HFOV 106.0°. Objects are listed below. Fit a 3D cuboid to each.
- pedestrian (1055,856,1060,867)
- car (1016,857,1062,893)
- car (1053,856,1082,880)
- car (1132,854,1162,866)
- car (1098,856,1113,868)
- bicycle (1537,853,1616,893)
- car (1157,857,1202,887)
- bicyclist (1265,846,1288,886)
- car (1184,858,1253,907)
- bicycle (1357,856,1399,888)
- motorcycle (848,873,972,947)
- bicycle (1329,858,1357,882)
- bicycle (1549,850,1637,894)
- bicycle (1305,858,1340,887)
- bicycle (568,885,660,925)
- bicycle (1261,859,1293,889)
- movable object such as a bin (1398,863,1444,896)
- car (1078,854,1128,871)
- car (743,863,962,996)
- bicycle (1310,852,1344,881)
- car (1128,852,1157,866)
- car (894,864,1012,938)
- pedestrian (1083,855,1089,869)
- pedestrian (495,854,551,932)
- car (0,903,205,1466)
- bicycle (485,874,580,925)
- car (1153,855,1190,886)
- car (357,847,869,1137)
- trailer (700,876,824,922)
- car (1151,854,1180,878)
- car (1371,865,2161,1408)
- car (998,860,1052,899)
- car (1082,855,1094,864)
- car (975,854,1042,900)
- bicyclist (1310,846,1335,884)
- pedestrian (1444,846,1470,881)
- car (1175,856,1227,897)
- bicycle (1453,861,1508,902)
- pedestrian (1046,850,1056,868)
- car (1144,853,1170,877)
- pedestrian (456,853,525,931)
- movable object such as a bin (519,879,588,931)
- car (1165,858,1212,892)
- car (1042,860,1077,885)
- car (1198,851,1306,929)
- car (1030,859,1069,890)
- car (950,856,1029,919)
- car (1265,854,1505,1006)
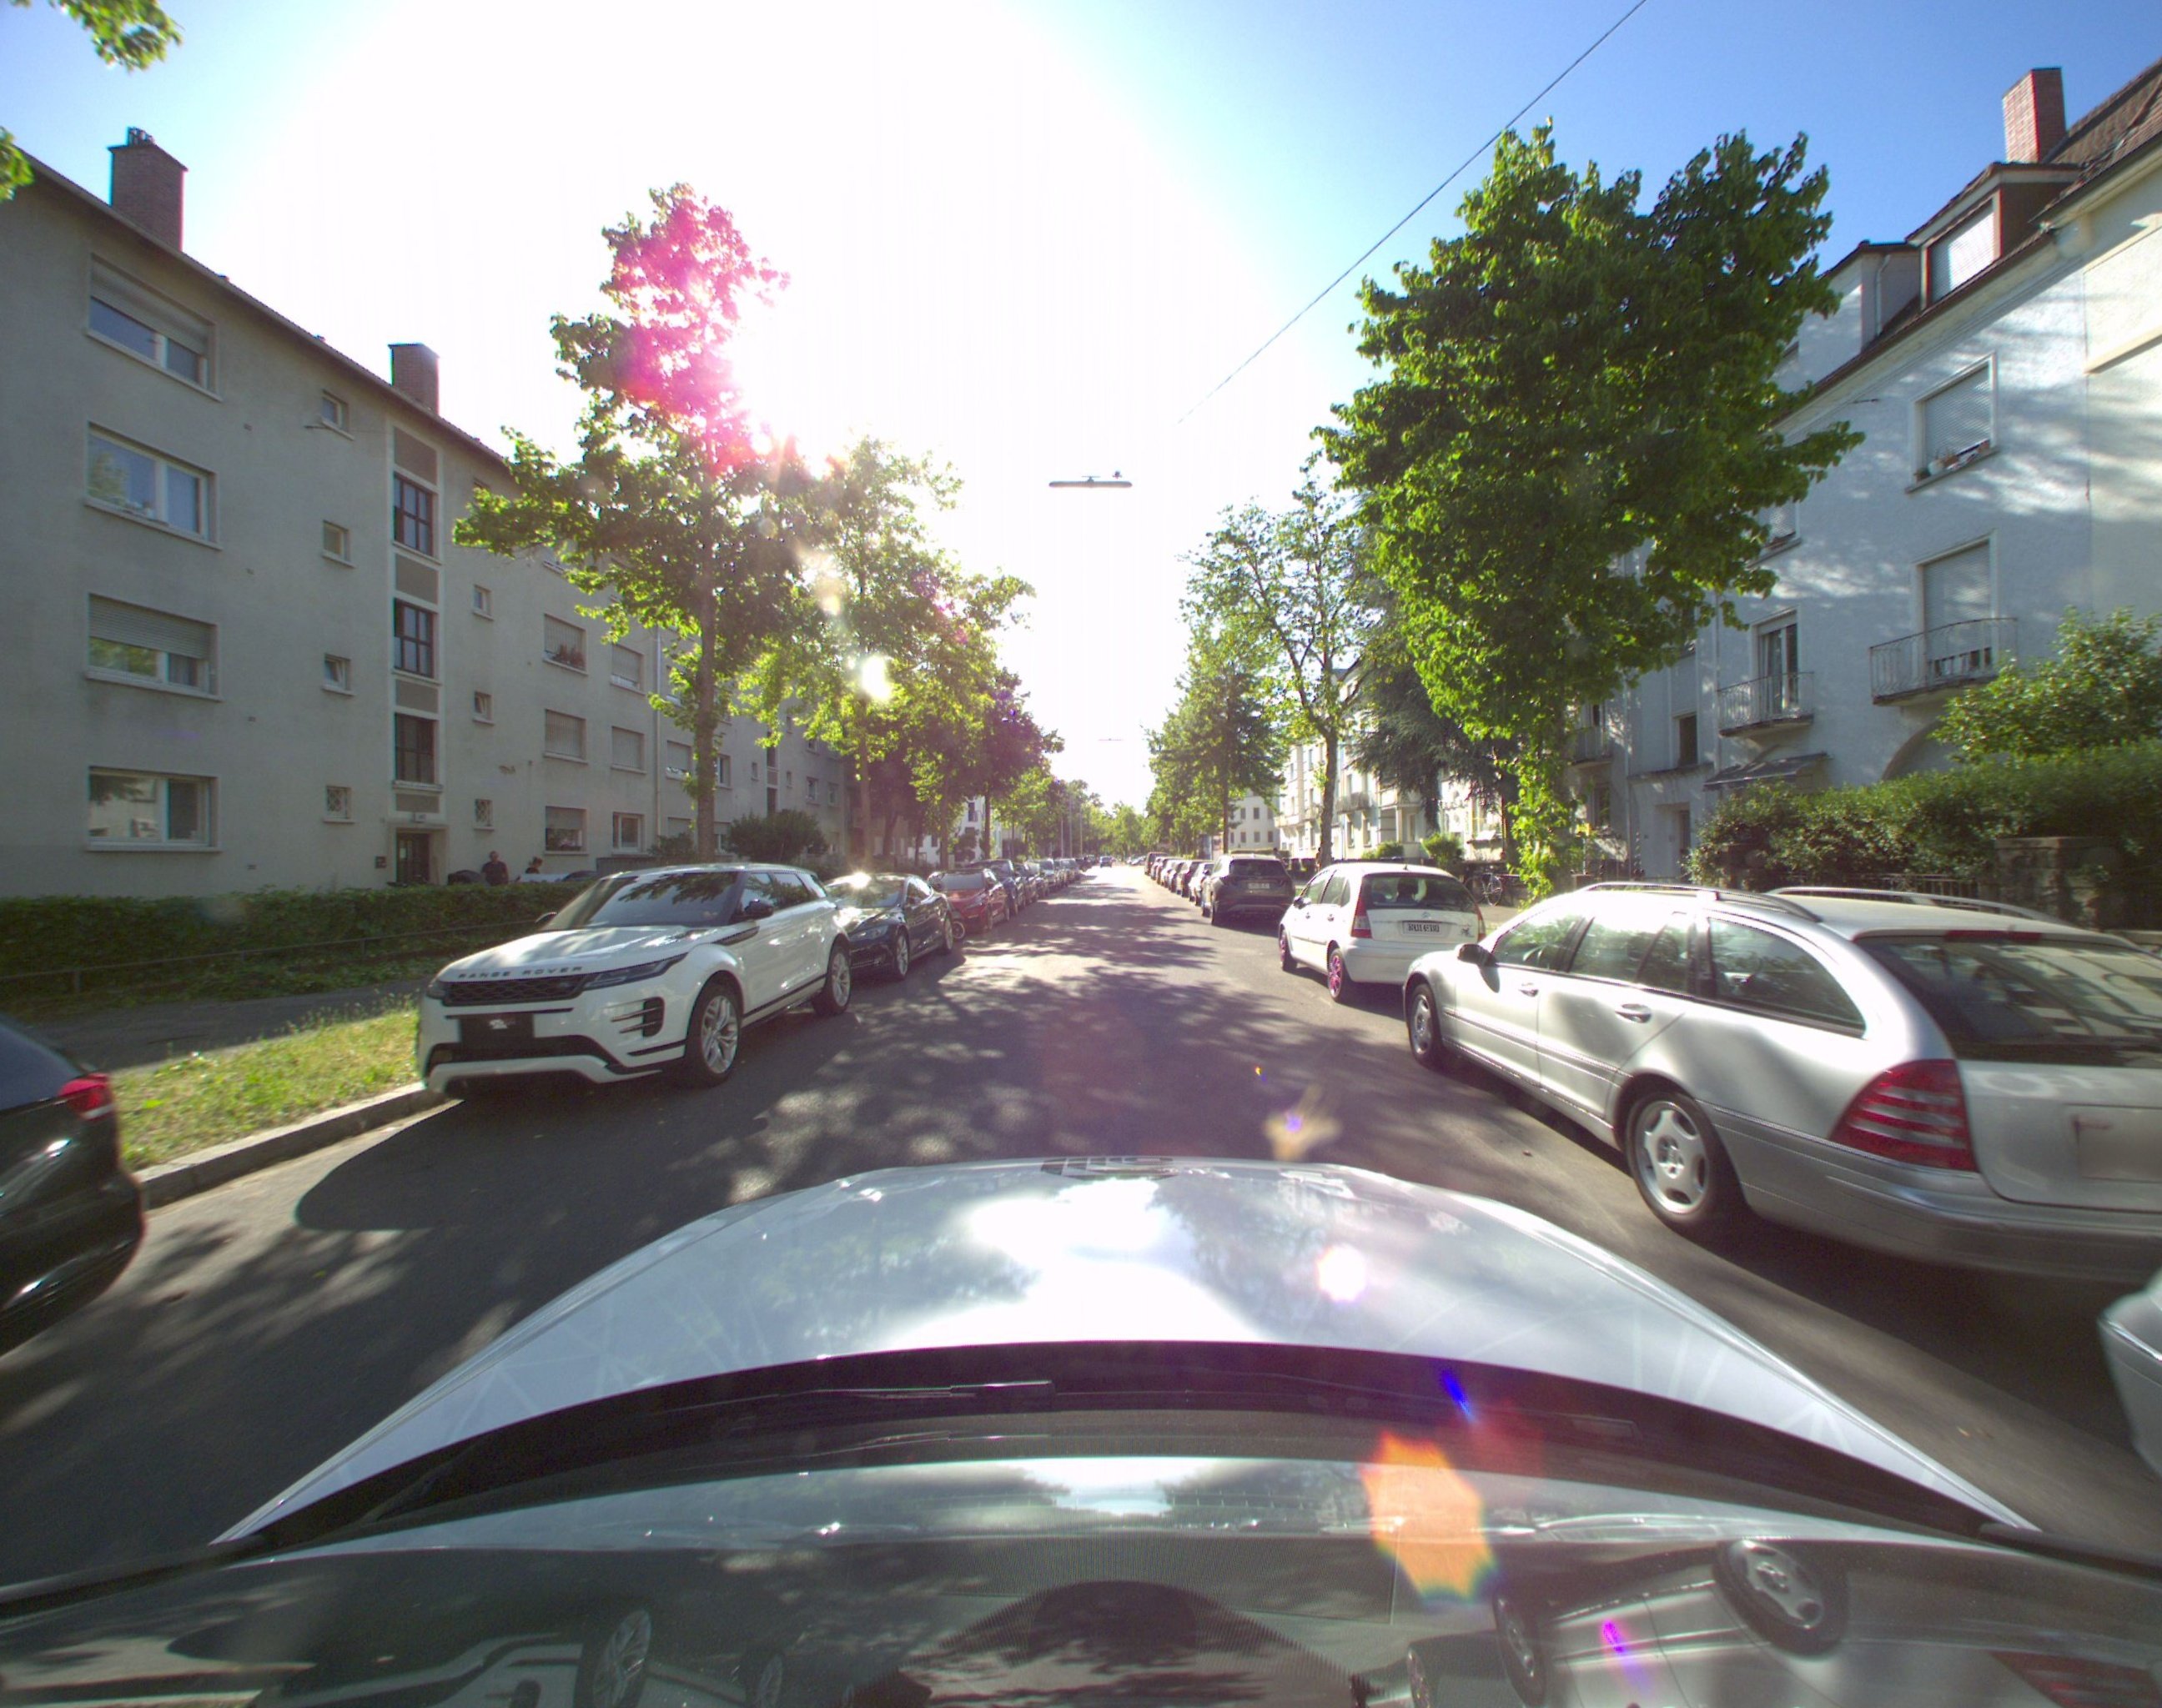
[{"bbox_3d":[-4.142,1.254,142.140,0.760,1.900,0.817,-1,0,-4],"label":"pedestrian"},{"bbox_3d":[-1.992,0.971,39.697,1.804,1.596,4.235,-2,0,2],"label":"car"},{"bbox_3d":[-0.973,1.016,60.140,1.832,1.595,4.264,-3,0,2],"label":"car"},{"bbox_3d":[9.072,0.821,112.047,3.976,1.587,1.726,-1,0,-2],"label":"car"},{"bbox_3d":[3.449,1.088,115.252,1.778,1.609,3.997,-2,0,-2],"label":"car"},{"bbox_3d":[14.542,0.548,23.916,1.888,1.100,0.584,-2,0,5],"label":"bicycle"},{"bbox_3d":[5.187,0.930,43.390,1.890,1.474,4.700,2,0,1],"label":"car"},{"bbox_3d":[8.098,0.489,33.722,0.675,1.609,0.921,-1,0,-1],"label":"bicyclist"},{"bbox_3d":[4.535,0.899,27.465,1.743,1.454,4.465,1,0,3],"label":"car"},{"bbox_3d":[10.922,0.637,29.986,0.801,1.115,2.000,-1,0,0],"label":"bicycle"},{"bbox_3d":[-3.336,1.075,16.073,2.284,1.270,0.806,-3,0,-8],"label":"motorcycle"},{"bbox_3d":[11.094,0.649,34.534,0.593,0.957,1.905,-2,0,3],"label":"bicycle"},{"bbox_3d":[13.571,0.481,21.617,1.888,1.100,0.584,-2,0,5],"label":"bicycle"},{"bbox_3d":[9.978,0.737,33.714,0.681,1.153,2.402,-1,0,0],"label":"bicycle"},{"bbox_3d":[-11.235,1.215,19.618,1.940,0.917,0.514,-1,-1,2],"label":"bicycle"},{"bbox_3d":[8.110,0.816,33.793,0.681,1.153,2.402,-1,0,0],"label":"bicycle"},{"bbox_3d":[10.264,0.758,24.582,1.210,0.905,1.673,-1,0,23],"label":"movable object such as a bin"},{"bbox_3d":[2.407,0.890,87.105,5.104,1.822,1.980,0,-1,-32],"label":"car"},{"bbox_3d":[-3.177,0.970,12.436,1.721,1.477,4.622,-5,0,3],"label":"car"},{"bbox_3d":[11.118,0.557,36.937,0.836,1.257,2.230,0,0,-1],"label":"bicycle"},{"bbox_3d":[8.860,0.701,117.678,3.974,1.806,1.889,-1,0,0],"label":"car"},{"bbox_3d":[-2.807,0.982,18.803,1.772,1.379,4.266,-3,0,3],"label":"car"},{"bbox_3d":[0.708,1.064,109.598,0.714,1.900,0.834,-1,0,-7],"label":"pedestrian"},{"bbox_3d":[-14.213,0.977,20.744,0.773,1.913,0.884,-2,-1,29],"label":"pedestrian"},{"bbox_3d":[-3.801,0.940,0.223,1.721,1.447,4.823,-3,0,2],"label":"car"},{"bbox_3d":[-13.510,1.098,20.118,0.508,1.153,1.966,-1,0,26],"label":"bicycle"},{"bbox_3d":[5.434,0.950,49.398,1.899,1.699,4.316,2,0,2],"label":"car"},{"bbox_3d":[-3.399,0.842,7.096,1.722,1.618,4.368,-5,0,2],"label":"car"},{"bbox_3d":[-8.349,1.150,21.612,1.780,1.034,3.285,-1,0,5],"label":"trailer"},{"bbox_3d":[5.950,0.793,57.637,1.826,1.600,4.162,1,0,3],"label":"car"},{"bbox_3d":[3.324,0.809,4.655,1.704,1.410,4.863,0,0,1],"label":"car"},{"bbox_3d":[-2.277,1.010,33.885,1.755,1.443,3.910,-3,0,2],"label":"car"},{"bbox_3d":[1.327,1.073,151.379,1.985,1.585,4.003,-1,0,3],"label":"car"},{"bbox_3d":[-2.553,0.784,29.493,1.822,1.453,4.124,-2,0,2],"label":"car"},{"bbox_3d":[9.976,0.445,33.663,0.674,1.553,1.021,-1,0,-1],"label":"bicyclist"},{"bbox_3d":[12.234,0.307,26.514,0.507,1.142,0.757,-1,-1,4],"label":"pedestrian"},{"bbox_3d":[4.805,0.850,33.104,1.686,1.540,4.444,0,0,3],"label":"car"},{"bbox_3d":[10.307,0.688,21.070,0.578,0.975,1.905,-2,0,4],"label":"bicycle"},{"bbox_3d":[-3.416,0.519,91.877,0.853,2.013,0.984,-1,0,11],"label":"pedestrian"},{"bbox_3d":[6.448,0.881,69.485,1.963,1.949,4.987,-1,0,2],"label":"car"},{"bbox_3d":[-14.826,0.933,20.471,0.926,1.888,1.030,-2,0,15],"label":"pedestrian"},{"bbox_3d":[-11.340,1.089,17.525,0.878,1.033,0.845,-2,0,4],"label":"movable object such as a bin"},{"bbox_3d":[4.887,0.936,37.393,1.781,1.453,3.784,0,0,2],"label":"car"},{"bbox_3d":[-1.392,1.169,54.076,1.986,1.453,4.264,-4,0,2],"label":"car"},{"bbox_3d":[4.011,0.757,19.958,1.917,1.651,5.101,1,0,4],"label":"car"},{"bbox_3d":[-1.717,1.082,45.089,1.703,1.544,3.933,-3,0,3],"label":"car"},{"bbox_3d":[-2.602,0.903,24.120,1.784,1.566,4.464,-4,0,-1],"label":"car"},{"bbox_3d":[3.579,0.783,10.379,1.648,1.532,3.970,1,0,1],"label":"car"}]
